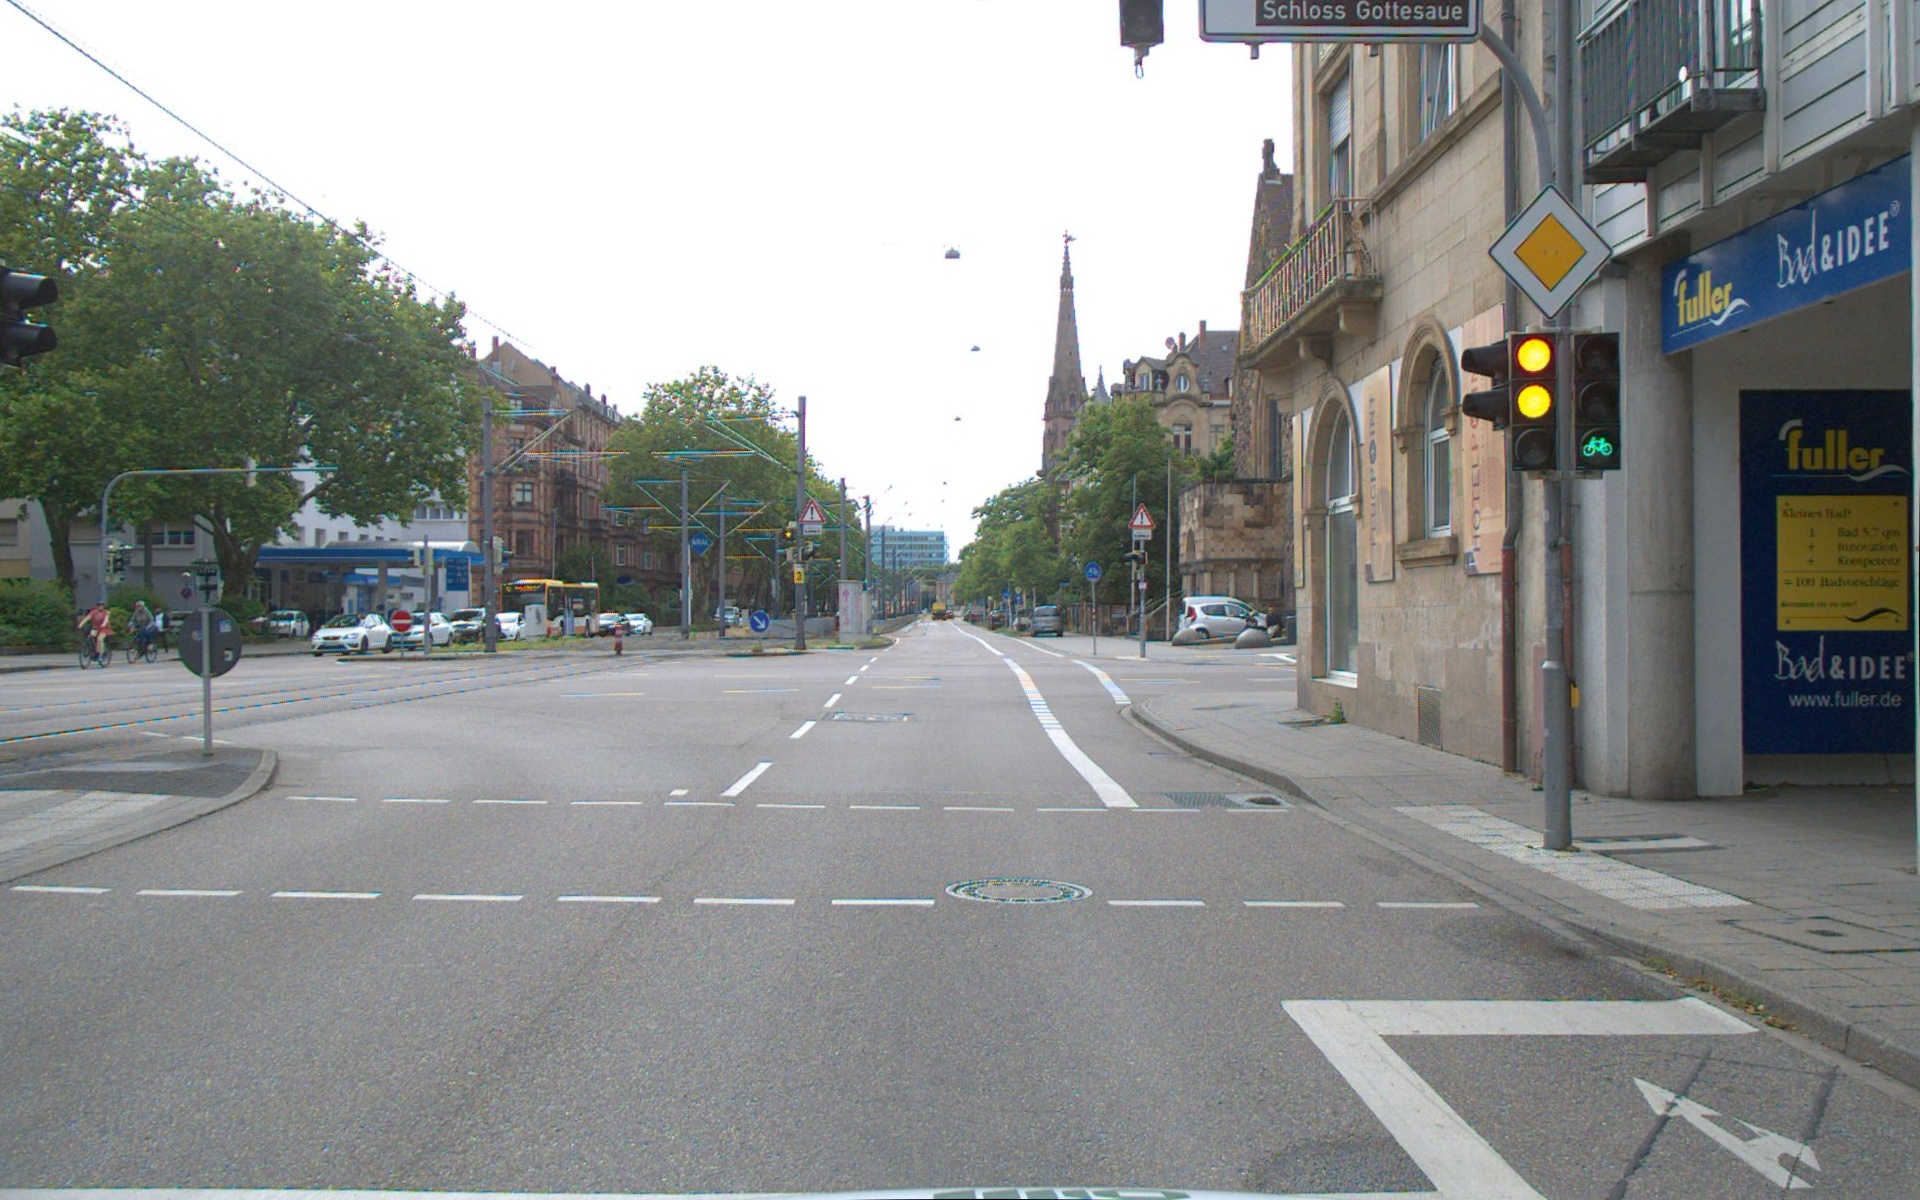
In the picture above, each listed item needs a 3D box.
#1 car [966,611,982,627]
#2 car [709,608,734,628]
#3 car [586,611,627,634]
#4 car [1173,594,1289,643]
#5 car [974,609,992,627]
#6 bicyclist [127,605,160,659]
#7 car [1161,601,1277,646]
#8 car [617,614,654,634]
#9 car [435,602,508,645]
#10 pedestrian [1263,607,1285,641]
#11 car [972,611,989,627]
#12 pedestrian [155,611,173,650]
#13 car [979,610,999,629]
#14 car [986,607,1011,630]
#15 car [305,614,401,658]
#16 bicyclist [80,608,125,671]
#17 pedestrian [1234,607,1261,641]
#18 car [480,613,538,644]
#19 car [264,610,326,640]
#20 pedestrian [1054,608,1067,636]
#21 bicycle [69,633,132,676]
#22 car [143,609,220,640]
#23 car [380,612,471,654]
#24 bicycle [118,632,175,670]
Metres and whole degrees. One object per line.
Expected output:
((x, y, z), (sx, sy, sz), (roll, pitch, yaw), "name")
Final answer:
((1.880, 2.446, 218.180), (1.953, 2.049, 3.998), (1, 0, -2), "car")
((-21.476, 1.621, 148.984), (1.667, 1.742, 3.890), (1, 0, 0), "car")
((-21.762, 1.367, 101.951), (1.667, 1.382, 3.890), (1, 0, 0), "car")
((11.177, 0.773, 68.369), (4.517, 1.914, 1.662), (1, 0, -1), "car")
((2.653, 2.026, 190.791), (1.953, 2.049, 3.998), (1, 0, -2), "car")
((-24.465, 0.956, 49.574), (0.571, 1.589, 0.756), (-2, 0, -1), "bicyclist")
((10.145, 0.918, 64.891), (4.260, 1.665, 1.662), (1, 0, -1), "car")
((-21.351, 1.558, 109.067), (1.667, 1.242, 3.890), (1, 0, 0), "car")
((-21.339, 1.005, 72.489), (1.667, 1.814, 5.149), (1, 0, 0), "car")
((11.667, 0.887, 61.418), (0.721, 1.250, 1.063), (1, 0, 14), "pedestrian")
((2.630, 2.362, 210.498), (1.953, 1.959, 3.998), (1, 0, -2), "car")
((-27.647, 1.054, 57.467), (0.446, 1.349, 0.469), (0, 0, -7), "pedestrian")
((3.030, 2.034, 172.336), (1.953, 1.915, 3.999), (0, 0, -1), "car")
((3.164, 1.547, 136.113), (1.953, 1.852, 3.999), (0, 0, -1), "car")
((-21.484, 1.255, 58.744), (1.804, 1.473, 4.412), (1, 0, -1), "car")
((-23.563, 1.078, 45.468), (0.691, 1.666, 0.994), (-2, 0, -2), "bicyclist")
((10.610, 0.882, 61.007), (0.721, 1.212, 1.493), (1, 0, -1), "pedestrian")
((-21.468, 1.339, 78.820), (1.667, 1.422, 3.890), (1, 0, 0), "car")
((-32.836, 1.219, 81.758), (1.667, 1.382, 3.403), (1, 0, 0), "car")
((6.097, 1.313, 100.424), (0.760, 1.676, 0.799), (1, -1, 5), "pedestrian")
((-23.570, 1.482, 45.391), (0.712, 1.083, 1.992), (-2, -1, -1), "bicycle")
((-37.955, 1.170, 80.739), (1.953, 1.492, 3.999), (0, 0, -1), "car")
((-21.211, 1.289, 65.851), (1.803, 1.552, 5.701), (1, 0, -1), "car")
((-24.421, 1.525, 49.678), (0.712, 1.083, 1.992), (-2, -1, -1), "bicycle")
